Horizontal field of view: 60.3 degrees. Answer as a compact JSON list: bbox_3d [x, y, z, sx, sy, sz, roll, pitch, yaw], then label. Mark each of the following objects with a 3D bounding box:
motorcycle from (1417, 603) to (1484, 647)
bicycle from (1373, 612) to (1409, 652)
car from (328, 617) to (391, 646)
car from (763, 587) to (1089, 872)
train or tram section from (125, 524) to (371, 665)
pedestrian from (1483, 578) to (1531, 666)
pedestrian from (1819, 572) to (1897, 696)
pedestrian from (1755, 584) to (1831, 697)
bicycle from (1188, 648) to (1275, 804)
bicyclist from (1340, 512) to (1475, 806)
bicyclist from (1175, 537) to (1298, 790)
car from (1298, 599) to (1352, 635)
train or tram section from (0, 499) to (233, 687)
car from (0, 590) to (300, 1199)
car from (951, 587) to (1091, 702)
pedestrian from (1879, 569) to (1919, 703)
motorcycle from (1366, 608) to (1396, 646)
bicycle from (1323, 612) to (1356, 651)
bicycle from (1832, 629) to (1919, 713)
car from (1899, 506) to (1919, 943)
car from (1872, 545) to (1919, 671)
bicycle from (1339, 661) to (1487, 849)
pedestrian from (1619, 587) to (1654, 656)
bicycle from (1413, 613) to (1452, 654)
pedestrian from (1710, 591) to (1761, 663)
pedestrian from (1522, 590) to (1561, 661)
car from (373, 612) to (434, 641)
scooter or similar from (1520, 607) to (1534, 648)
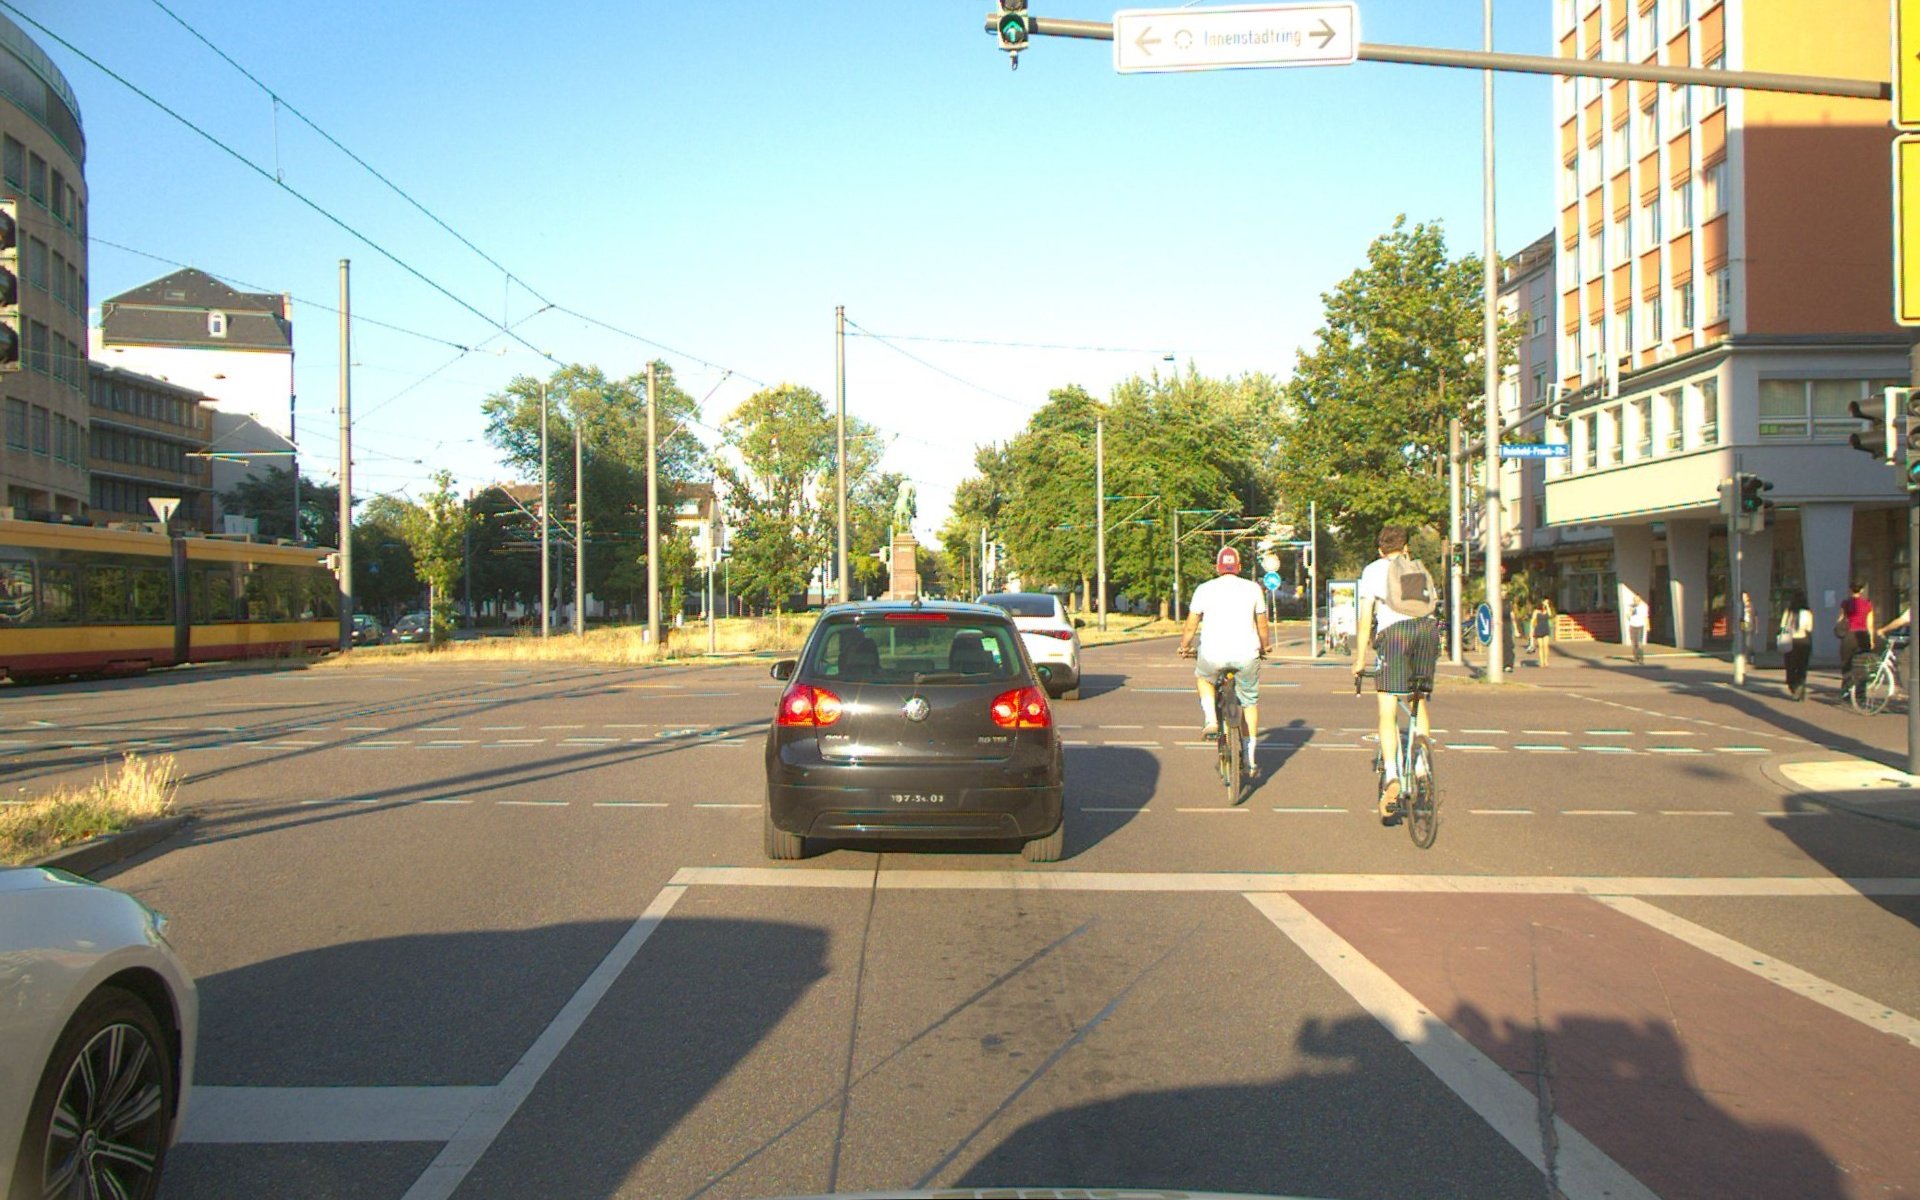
[{"bbox_3d":[16.087,0.814,54.253,2.000,1.431,0.761,0,0,7],"label":"motorcycle"},{"bbox_3d":[13.267,0.975,50.958,0.631,1.146,1.874,-1,1,1],"label":"bicycle"},{"bbox_3d":[-25.819,1.347,71.198,1.489,1.174,3.597,0,0,-2],"label":"car"},{"bbox_3d":[-0.247,0.678,10.740,1.712,1.486,4.101,0,0,-2],"label":"car"},{"bbox_3d":[-20.074,-0.130,47.551,2.717,3.598,10.568,0,0,-1],"label":"train or tram section"},{"bbox_3d":[10.932,0.436,33.101,0.648,1.734,1.072,-1,0,4],"label":"pedestrian"},{"bbox_3d":[12.483,0.468,23.008,0.667,1.691,0.747,-1,0,1],"label":"pedestrian"},{"bbox_3d":[11.538,0.552,22.930,0.667,1.526,0.747,-1,0,1],"label":"pedestrian"},{"bbox_3d":[2.059,0.922,12.703,0.468,1.046,1.982,0,0,4],"label":"bicycle"},{"bbox_3d":[2.913,0.371,10.840,0.660,1.839,0.994,0,0,4],"label":"bicyclist"},{"bbox_3d":[2.089,0.465,12.610,0.809,1.839,1.058,0,0,3],"label":"bicyclist"},{"bbox_3d":[16.497,0.733,74.655,1.693,1.498,3.898,-3,-1,22],"label":"car"},{"bbox_3d":[-19.819,-0.121,35.638,2.717,3.598,13.248,0,0,-1],"label":"train or tram section"},{"bbox_3d":[-2.636,0.676,2.042,1.800,1.425,4.583,2,0,-1],"label":"car"},{"bbox_3d":[0.966,0.571,24.083,1.826,1.466,4.199,-1,1,4],"label":"car"},{"bbox_3d":[11.861,0.444,20.322,0.670,1.617,0.751,1,-3,-36],"label":"pedestrian"},{"bbox_3d":[14.254,0.905,56.018,0.652,1.264,2.202,0,0,6],"label":"motorcycle"},{"bbox_3d":[11.667,0.952,50.898,0.631,1.146,1.874,-1,1,1],"label":"bicycle"},{"bbox_3d":[11.806,0.869,20.401,0.516,0.998,1.826,-1,0,-36],"label":"bicycle"},{"bbox_3d":[5.291,0.548,5.178,1.897,1.967,4.831,-1,0,-1],"label":"car"},{"bbox_3d":[21.821,0.135,33.978,5.143,2.526,1.925,0,0,-1],"label":"car"},{"bbox_3d":[2.890,0.950,10.707,0.563,1.046,1.857,0,0,4],"label":"bicycle"},{"bbox_3d":[17.215,0.534,42.100,0.557,1.731,0.812,-1,0,1],"label":"pedestrian"},{"bbox_3d":[14.555,1.013,50.960,0.631,1.178,2.124,-1,1,1],"label":"bicycle"},{"bbox_3d":[19.183,0.660,40.926,0.767,1.731,1.027,-1,0,1],"label":"pedestrian"},{"bbox_3d":[13.483,0.584,38.375,0.667,1.617,0.747,-1,0,4],"label":"pedestrian"},{"bbox_3d":[-26.063,1.219,77.592,1.612,1.304,3.739,-1,0,0],"label":"car"},{"bbox_3d":[18.053,0.865,52.676,0.406,1.276,1.183,0,0,19],"label":"scooter or similar"}]
